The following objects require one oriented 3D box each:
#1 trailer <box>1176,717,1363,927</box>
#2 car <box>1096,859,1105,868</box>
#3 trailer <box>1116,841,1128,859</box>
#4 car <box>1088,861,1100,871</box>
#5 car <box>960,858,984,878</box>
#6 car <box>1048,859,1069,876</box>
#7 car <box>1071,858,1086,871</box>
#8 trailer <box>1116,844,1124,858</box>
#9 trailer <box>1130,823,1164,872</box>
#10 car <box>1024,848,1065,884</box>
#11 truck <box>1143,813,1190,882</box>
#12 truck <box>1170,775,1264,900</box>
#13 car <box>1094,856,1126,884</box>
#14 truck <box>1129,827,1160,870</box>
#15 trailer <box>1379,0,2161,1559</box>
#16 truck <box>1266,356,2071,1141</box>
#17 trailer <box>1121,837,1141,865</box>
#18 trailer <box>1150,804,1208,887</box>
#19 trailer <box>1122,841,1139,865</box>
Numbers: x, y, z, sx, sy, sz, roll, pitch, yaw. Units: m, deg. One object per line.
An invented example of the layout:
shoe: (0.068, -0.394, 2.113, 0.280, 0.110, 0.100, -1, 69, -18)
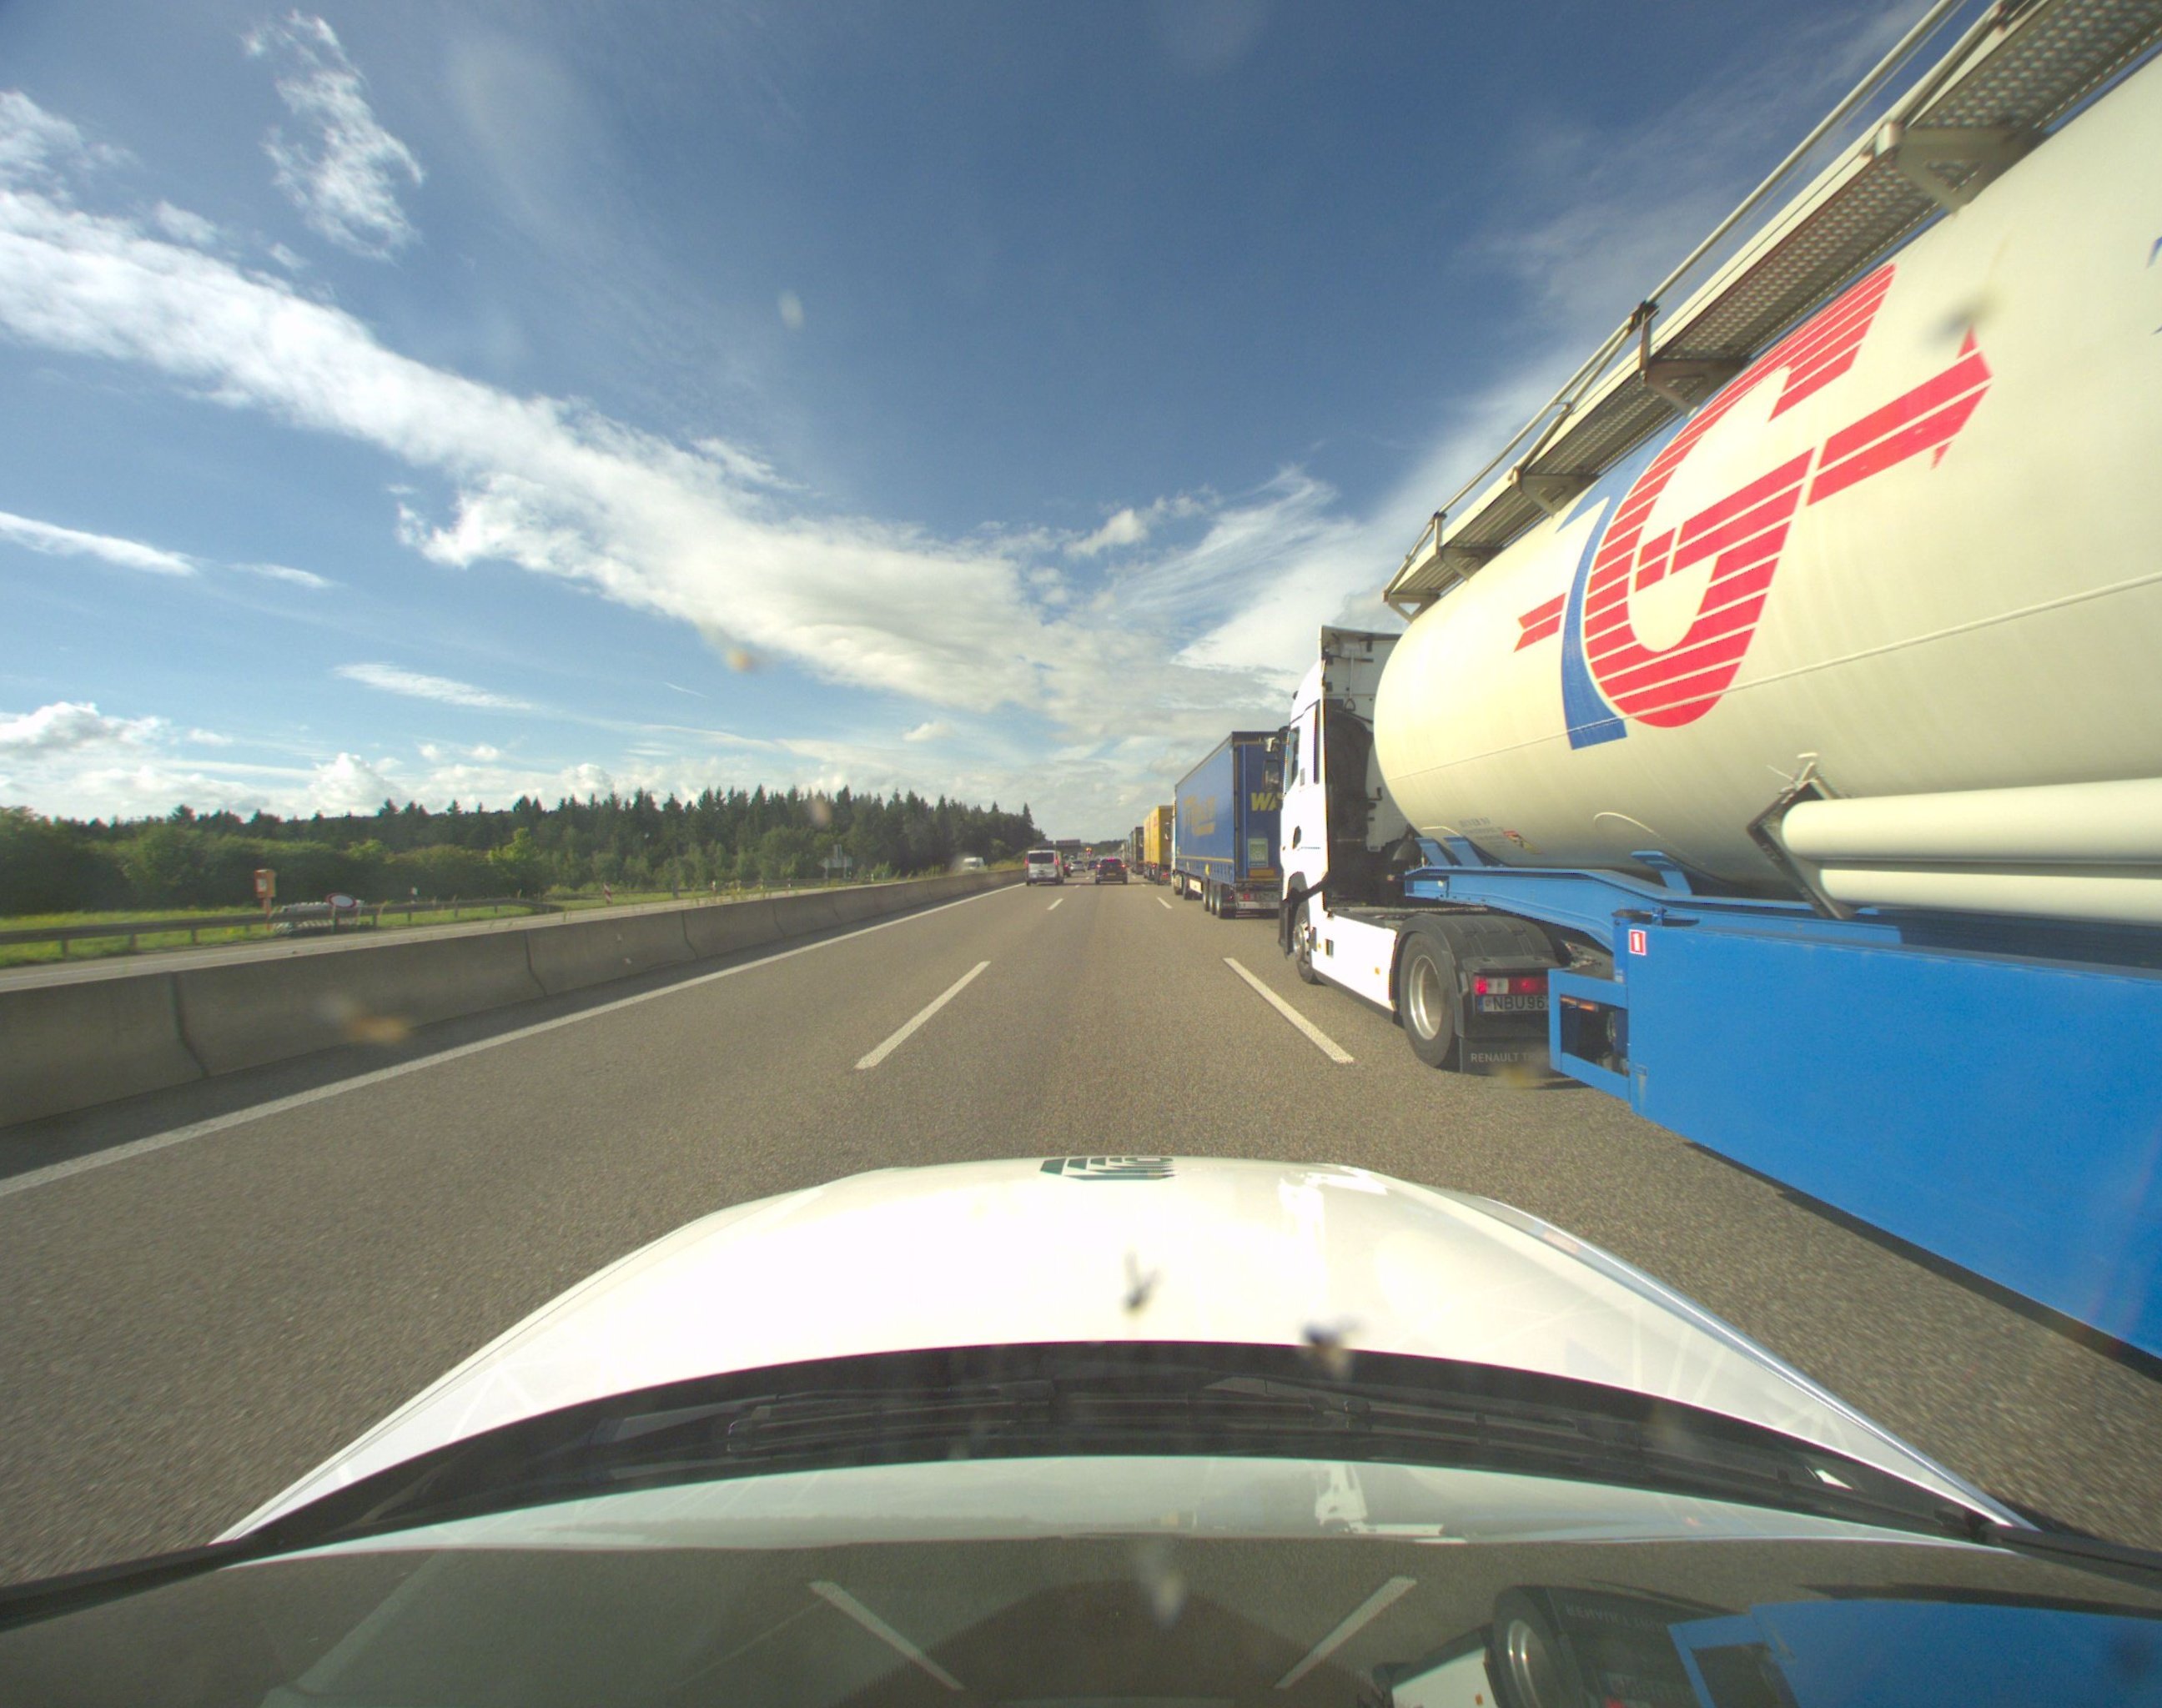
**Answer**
trailer: (4.520, -0.580, 22.990, 2.631, 4.098, 13.989, -1, 0, 3)
car: (3.230, 1.616, 135.645, 1.355, 1.396, 3.086, -1, -1, 2)
trailer: (10.843, -0.946, 214.178, 2.791, 4.244, 11.065, -4, -1, 3)
car: (1.799, 1.644, 113.392, 1.575, 1.396, 3.209, -1, -1, 2)
car: (-14.458, 1.861, 108.390, 2.026, 2.578, 7.324, -1, 0, 2)
car: (-1.794, 1.077, 66.341, 1.494, 1.396, 3.477, -1, -1, 2)
car: (-0.276, 1.177, 93.737, 1.494, 1.396, 3.477, -1, -1, 2)
trailer: (11.879, -0.906, 248.327, 2.141, 4.259, 8.446, -3, -1, 3)
trailer: (5.680, -0.563, 70.949, 2.704, 3.961, 8.719, -1, 0, 3)
car: (-2.049, 0.668, 47.201, 1.925, 1.979, 5.101, -1, 0, 2)
truck: (5.491, -0.386, 53.579, 2.403, 4.068, 9.669, -1, 0, 2)
truck: (4.843, -0.526, 30.095, 2.638, 4.089, 6.495, -1, -1, 2)
car: (1.651, 0.863, 46.106, 1.690, 1.483, 4.162, -1, 0, 2)
truck: (6.202, -0.471, 80.418, 2.729, 4.038, 10.210, -1, -1, 3)
trailer: (3.424, -0.581, 0.664, 2.635, 3.935, 11.180, -1, -1, 2)
truck: (3.717, -0.502, 7.570, 2.638, 3.925, 6.945, -1, -1, 2)
trailer: (7.574, -0.344, 125.286, 2.651, 3.869, 13.402, -3, -1, 2)
trailer: (5.170, -0.416, 44.288, 2.403, 4.068, 8.931, -1, 0, 2)
trailer: (9.047, -0.163, 150.587, 2.692, 4.081, 12.951, -4, 0, 2)
